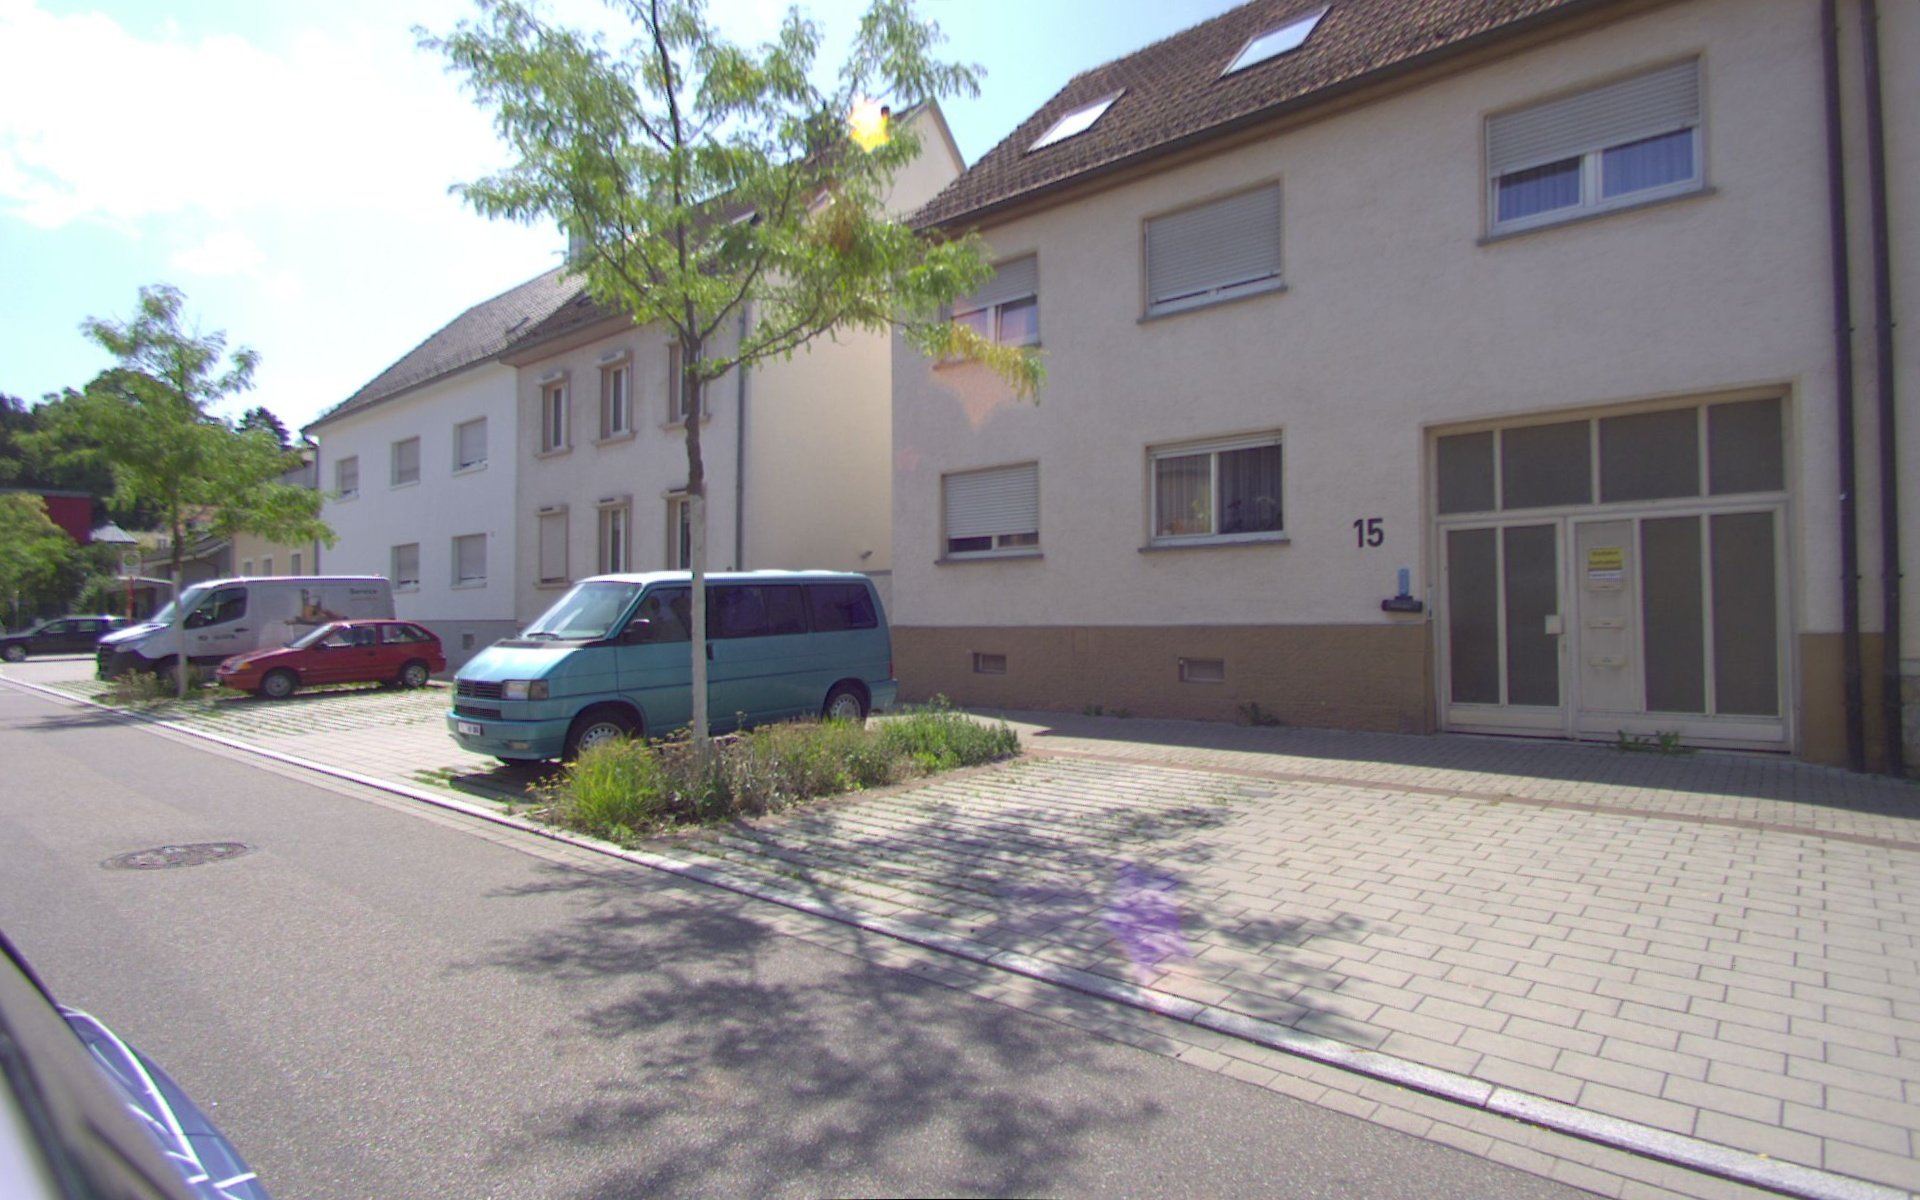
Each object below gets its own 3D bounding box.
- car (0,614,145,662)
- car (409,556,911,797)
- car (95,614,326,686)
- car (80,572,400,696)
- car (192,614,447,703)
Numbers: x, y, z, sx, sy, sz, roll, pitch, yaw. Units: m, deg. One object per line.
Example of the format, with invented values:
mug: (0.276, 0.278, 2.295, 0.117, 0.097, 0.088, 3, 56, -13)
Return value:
car: (-31.641, 1.295, 35.472, 1.900, 1.528, 4.540, -1, 0, 40)
car: (-2.841, 0.571, 10.488, 1.999, 1.921, 4.628, -1, 1, 41)
car: (-17.194, 1.096, 23.378, 1.899, 1.456, 3.949, -1, -1, 38)
car: (-15.020, 0.596, 21.417, 2.155, 2.305, 5.116, -1, 0, 39)
car: (-11.990, 1.015, 19.113, 1.725, 1.396, 3.744, -1, 1, 41)
